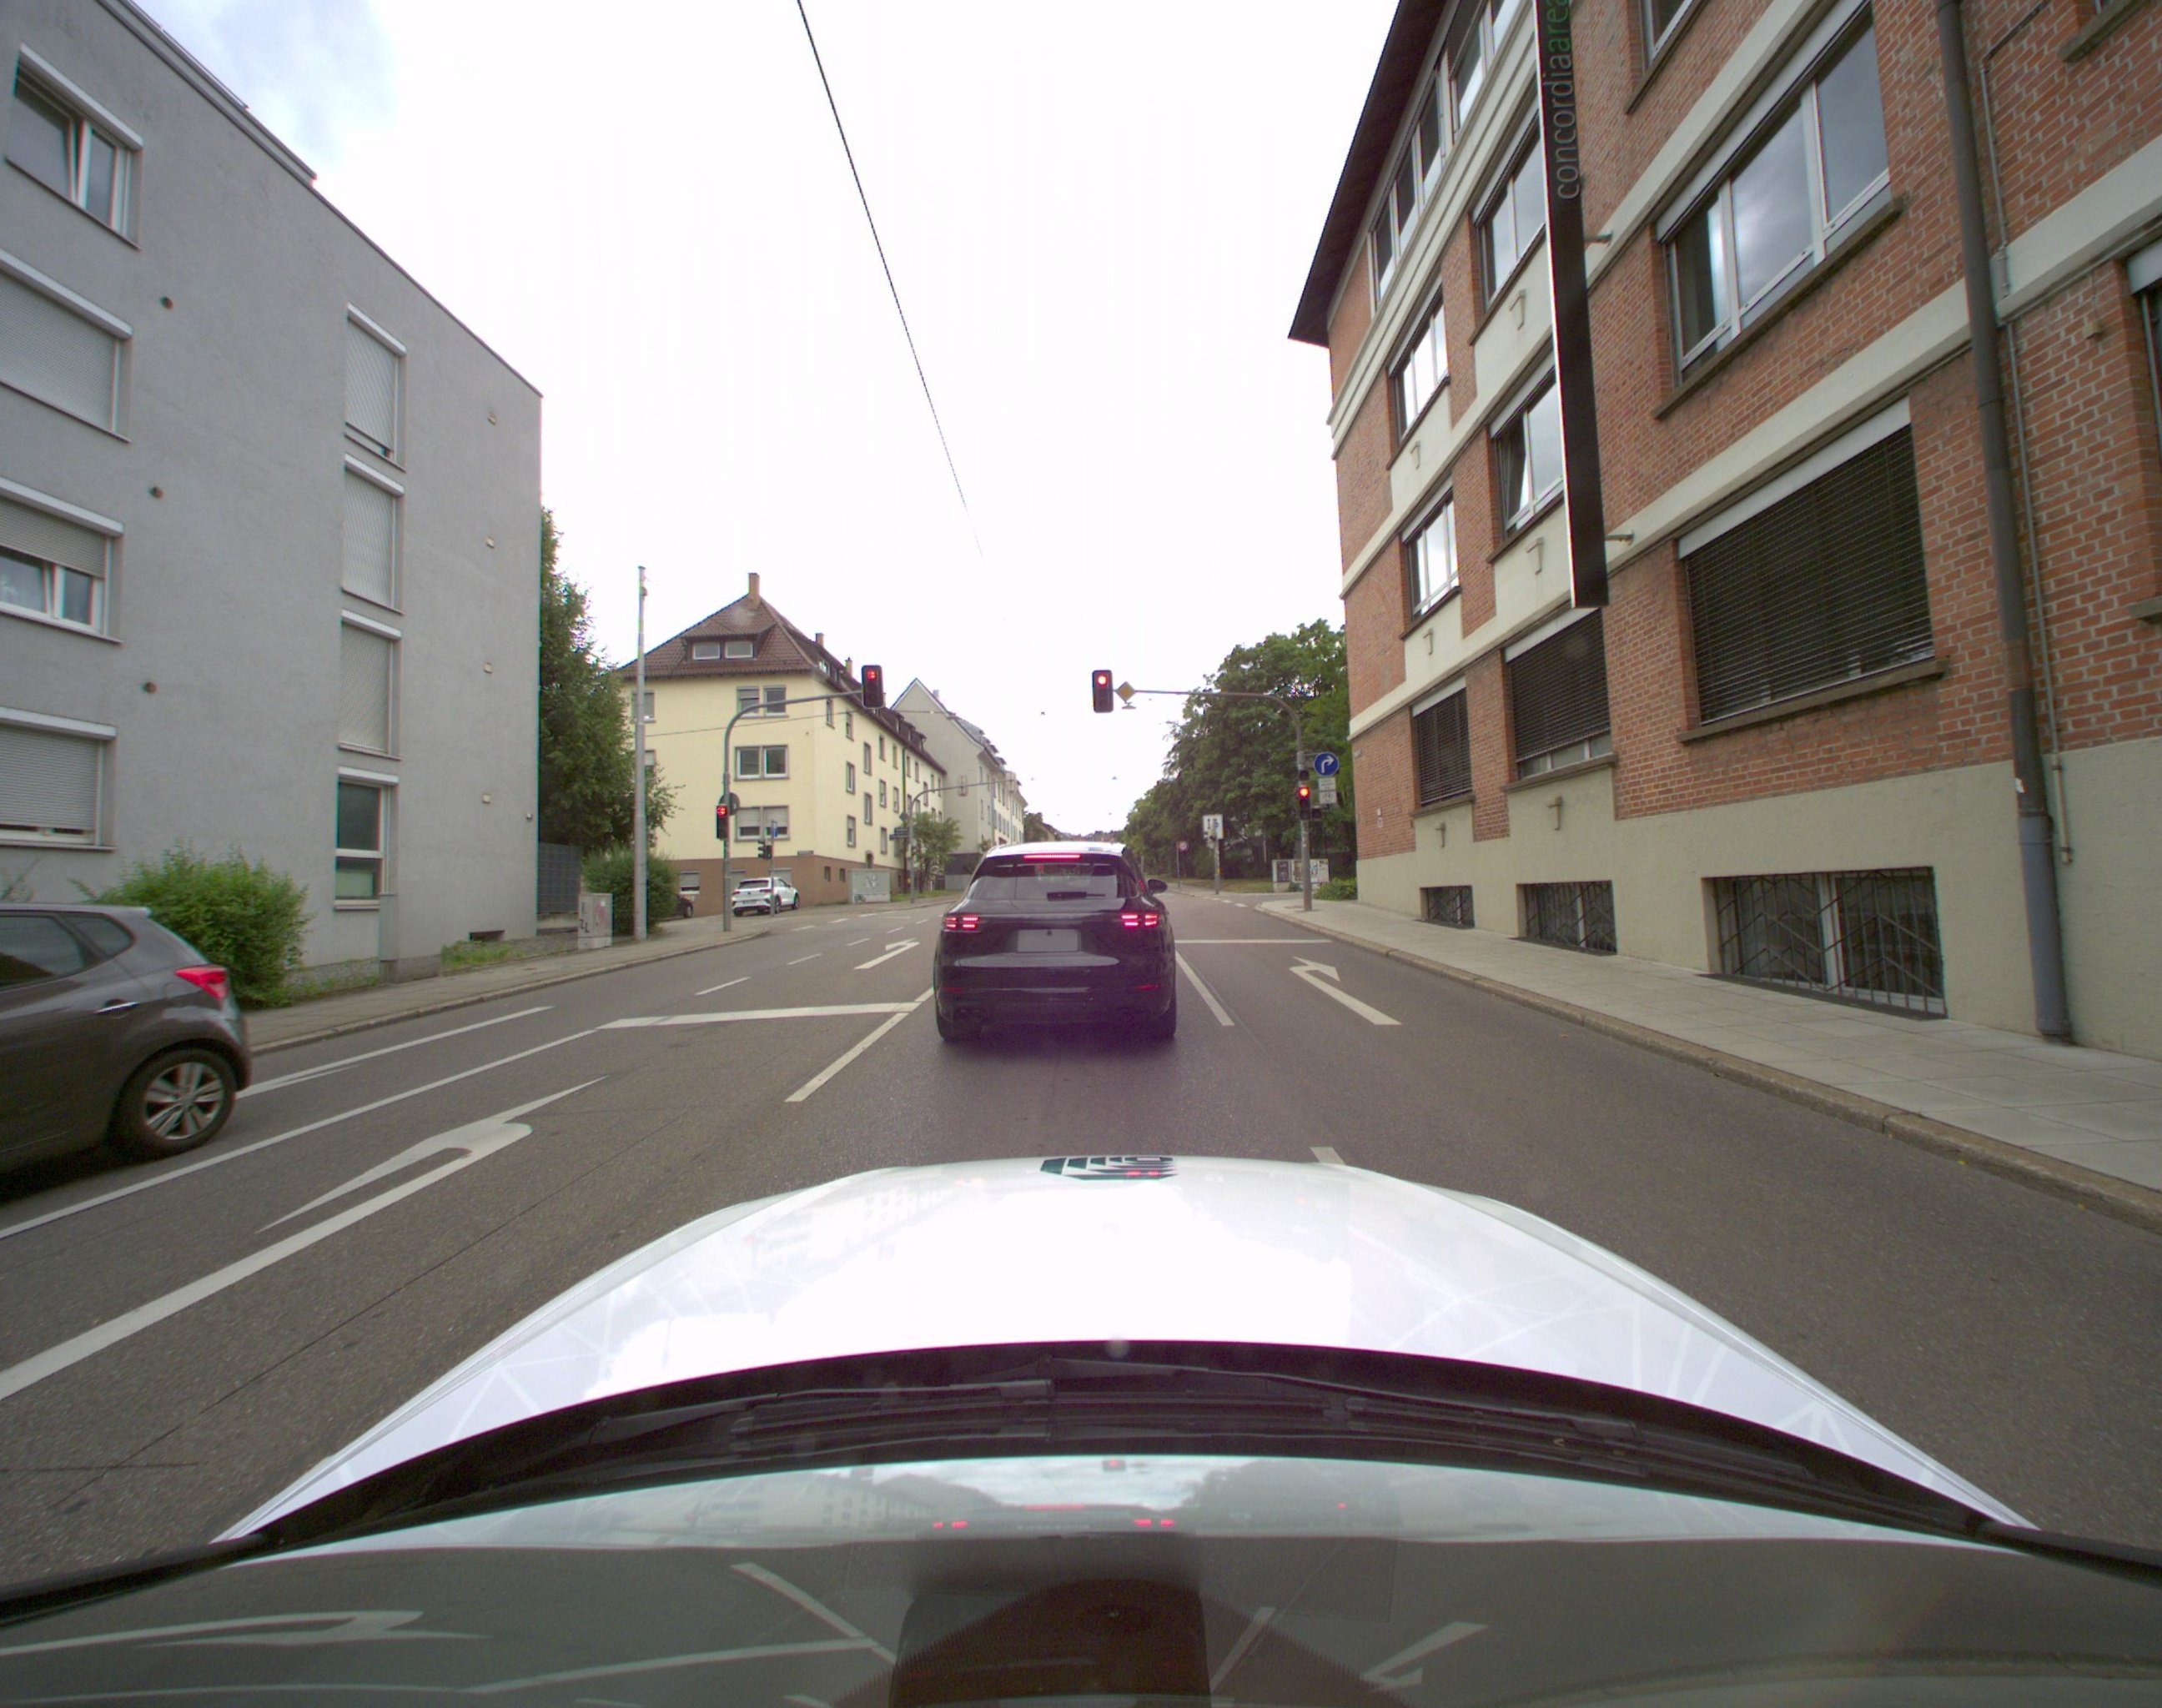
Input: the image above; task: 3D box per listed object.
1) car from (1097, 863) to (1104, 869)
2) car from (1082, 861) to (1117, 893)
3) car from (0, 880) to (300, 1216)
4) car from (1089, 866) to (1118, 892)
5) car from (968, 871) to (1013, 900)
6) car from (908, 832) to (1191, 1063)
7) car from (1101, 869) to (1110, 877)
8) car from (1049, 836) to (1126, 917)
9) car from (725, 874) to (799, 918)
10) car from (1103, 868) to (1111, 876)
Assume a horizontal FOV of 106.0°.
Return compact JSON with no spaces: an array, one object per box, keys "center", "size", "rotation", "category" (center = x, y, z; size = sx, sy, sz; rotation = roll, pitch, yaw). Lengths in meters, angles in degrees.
[{"center":[5.028,3.081,211.102],"size":[1.820,1.605,4.137],"rotation":[0,0,2],"category":"car"},{"center":[1.060,1.218,44.654],"size":[1.820,1.605,4.137],"rotation":[0,0,2],"category":"car"},{"center":[-6.107,1.020,3.503],"size":[1.700,1.587,3.932],"rotation":[-4,0,-3],"category":"car"},{"center":[1.472,1.590,53.362],"size":[1.820,1.605,3.860],"rotation":[0,0,2],"category":"car"},{"center":[-5.010,1.719,45.595],"size":[1.778,1.418,4.672],"rotation":[-4,-1,2],"category":"car"},{"center":[-0.153,0.676,8.023],"size":[2.040,1.666,4.269],"rotation":[0,0,2],"category":"car"},{"center":[4.903,3.748,161.534],"size":[1.820,1.605,4.137],"rotation":[0,0,2],"category":"car"},{"center":[0.242,0.566,22.745],"size":[1.957,2.042,4.137],"rotation":[0,0,2],"category":"car"},{"center":[-13.557,1.744,34.814],"size":[1.686,1.555,3.763],"rotation":[-4,0,-2],"category":"car"},{"center":[5.830,4.063,183.258],"size":[1.820,1.605,4.137],"rotation":[0,0,2],"category":"car"}]
